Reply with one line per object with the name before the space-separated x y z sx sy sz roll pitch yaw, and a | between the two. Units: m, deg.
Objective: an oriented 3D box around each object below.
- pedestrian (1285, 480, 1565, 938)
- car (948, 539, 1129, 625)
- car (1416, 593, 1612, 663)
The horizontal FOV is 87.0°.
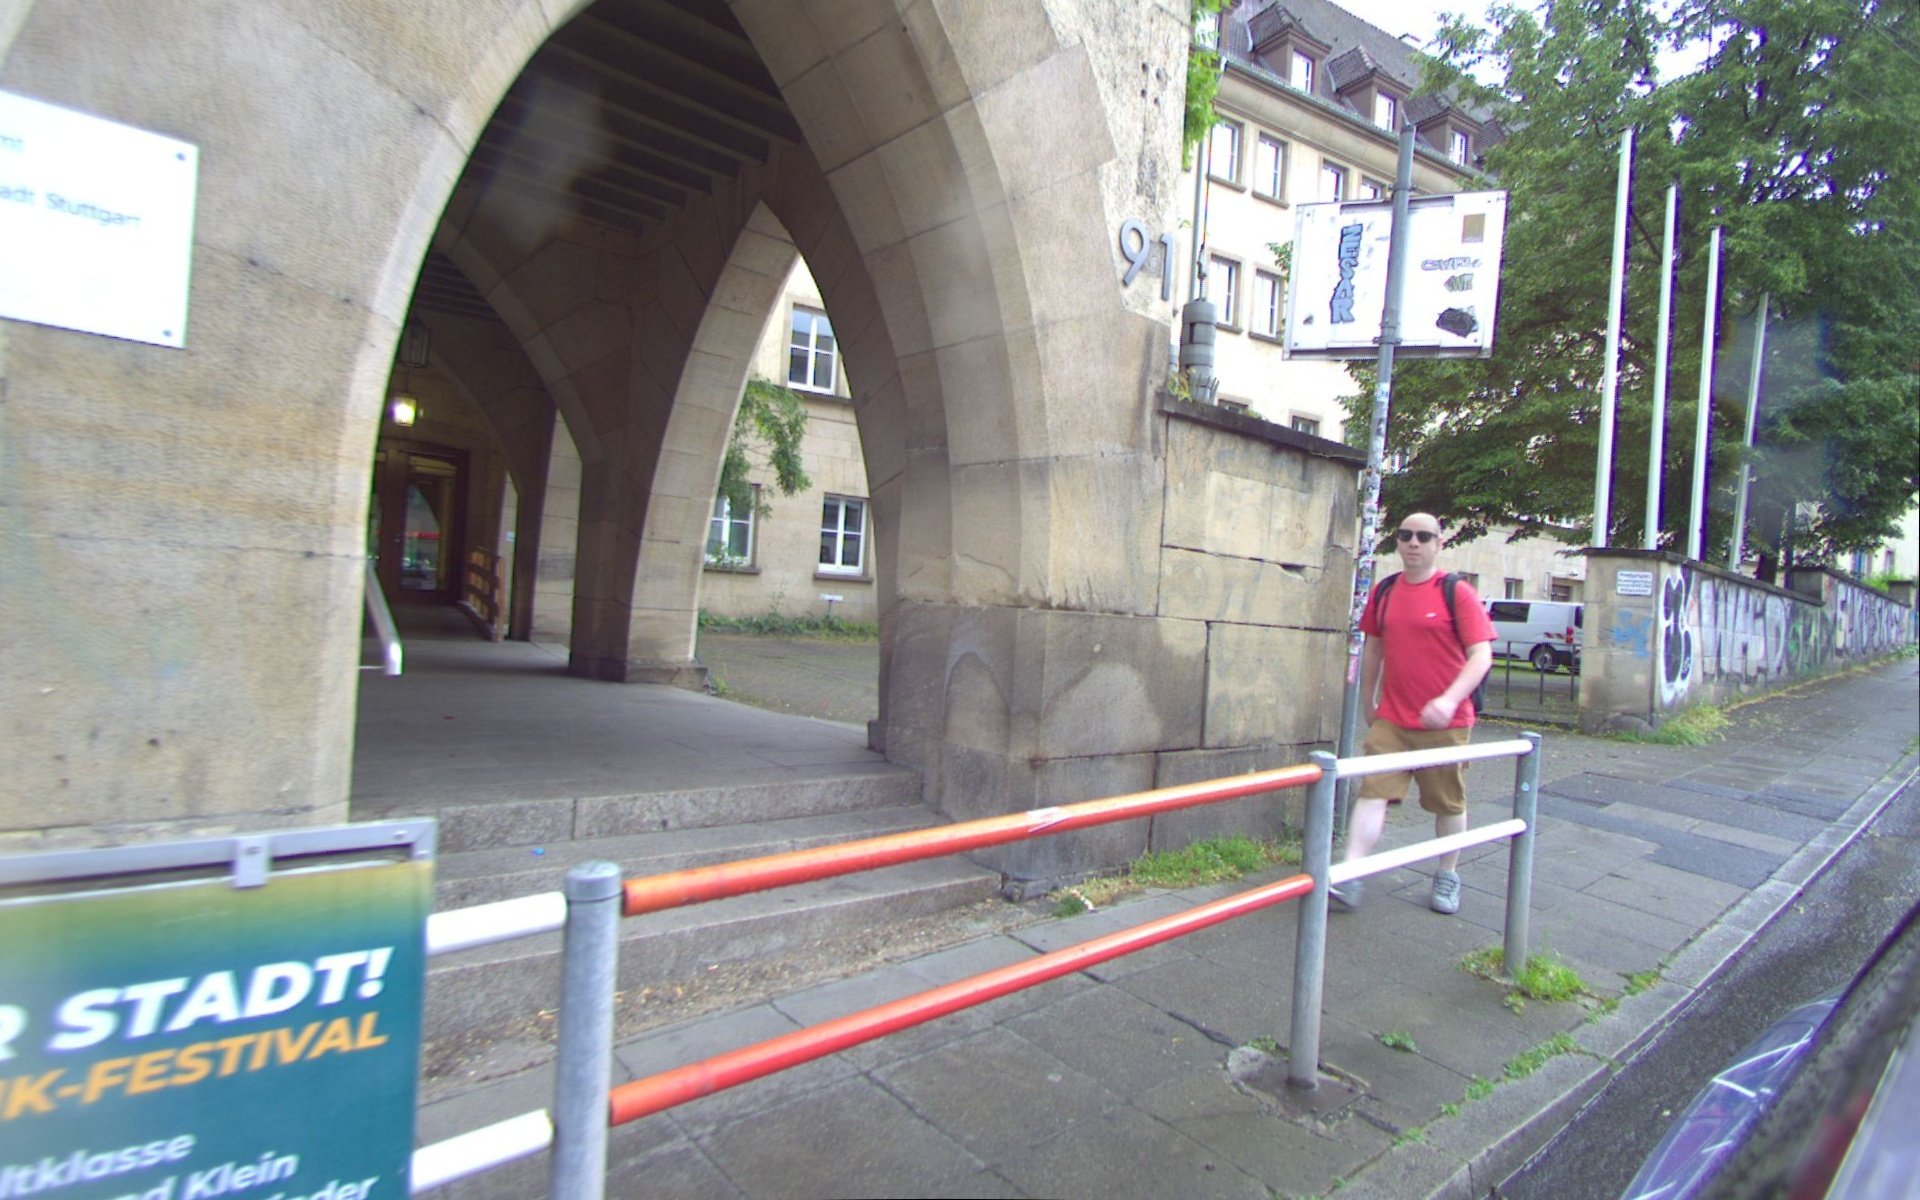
pedestrian | 2.044 0.403 4.465 0.804 1.785 0.748 1 4 -41
car | 1.396 -0.320 19.593 1.580 1.488 3.920 0 0 -29
car | 15.343 0.715 28.312 1.786 1.802 4.538 0 0 -29
